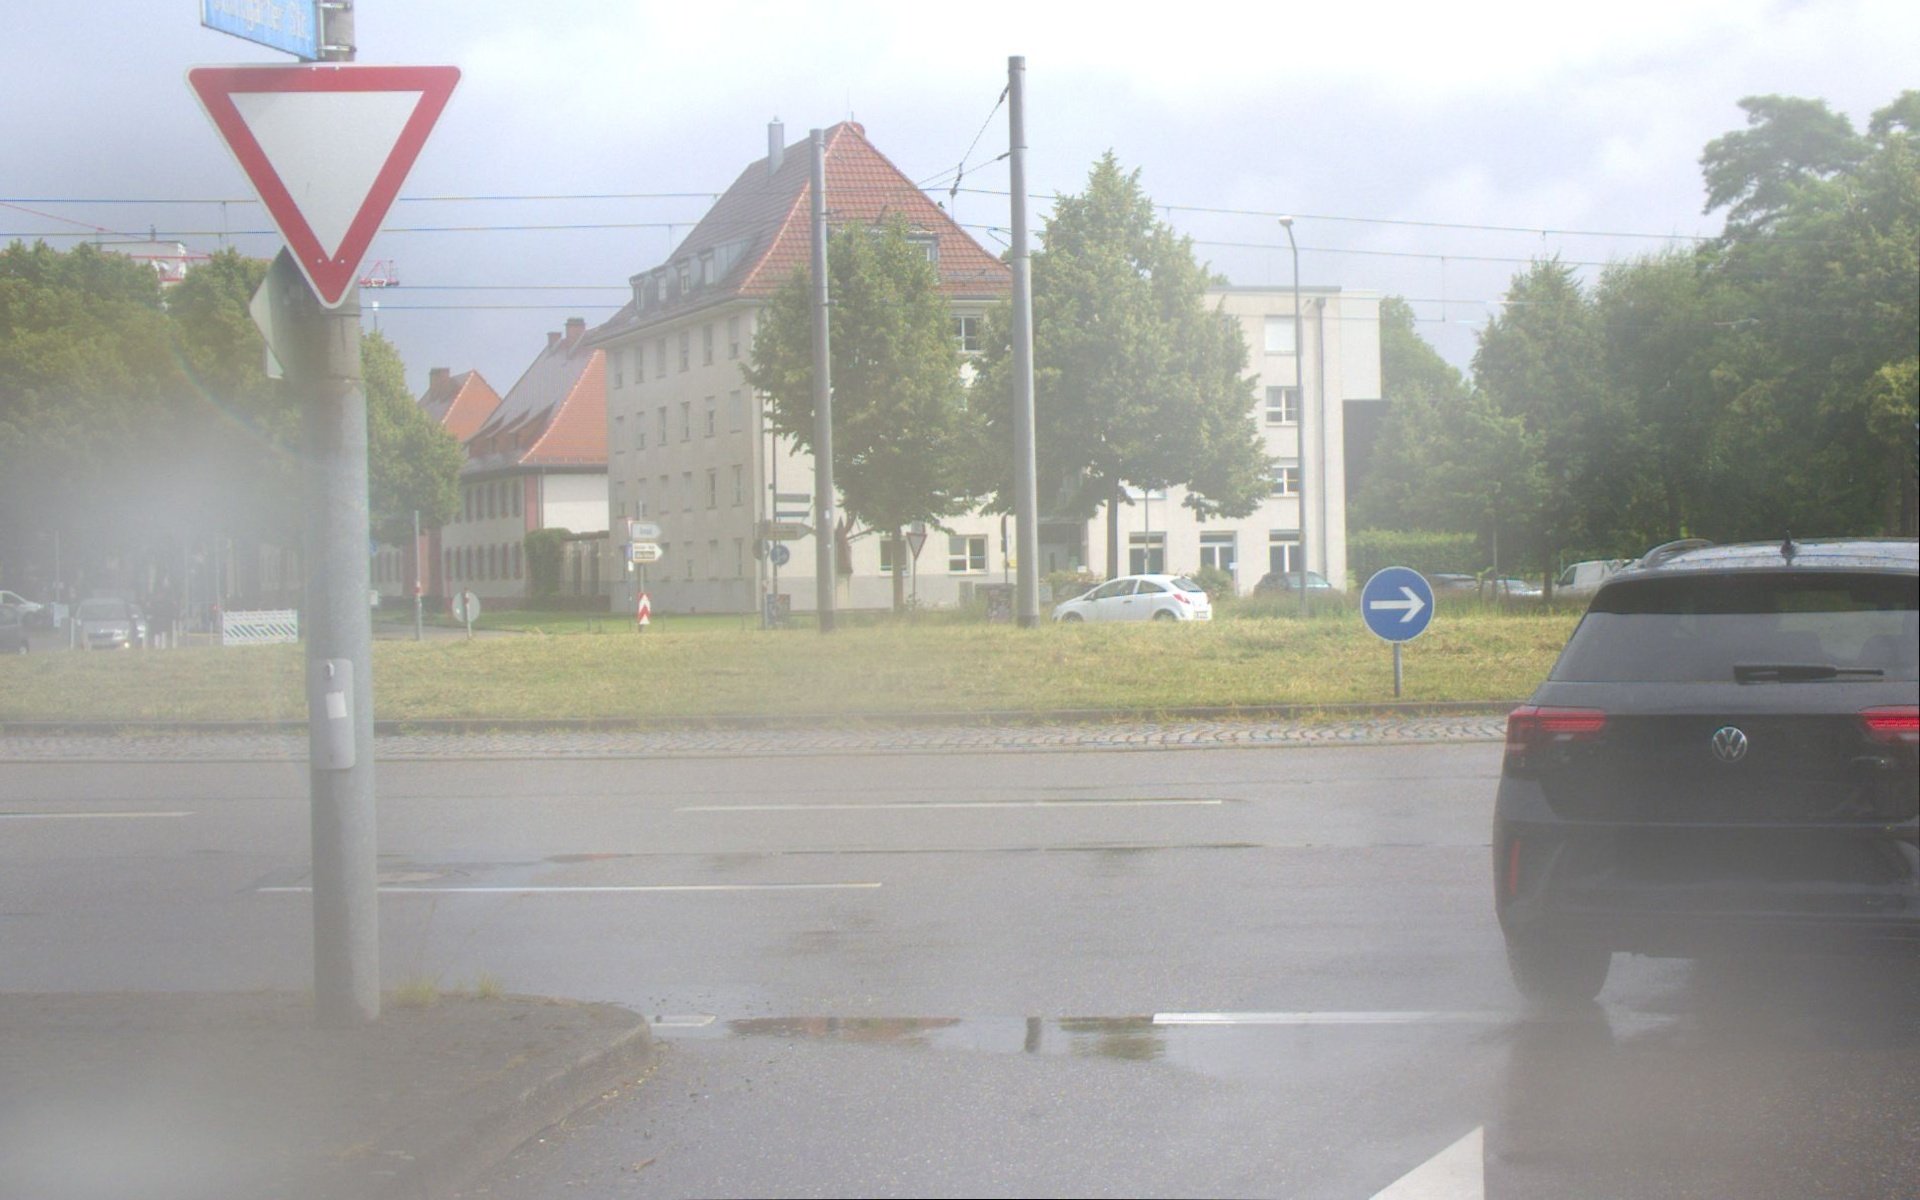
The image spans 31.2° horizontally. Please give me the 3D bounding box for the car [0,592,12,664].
[{"bbox_3d":[-22.192,0.650,75.506,1.791,1.579,4.001,-1,1,-3],"label":"car"}]

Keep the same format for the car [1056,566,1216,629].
[{"bbox_3d":[4.224,-0.060,82.709,3.494,1.449,1.548,-1,1,29],"label":"car"}]

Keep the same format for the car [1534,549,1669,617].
[{"bbox_3d":[20.214,-0.562,108.532,2.106,2.050,5.163,-2,1,-15],"label":"car"}]

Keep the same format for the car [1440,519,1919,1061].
[{"bbox_3d":[3.013,0.528,12.267,1.899,1.612,3.997,0,1,18],"label":"car"}]

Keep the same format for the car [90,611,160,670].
[{"bbox_3d":[-23.822,1.147,98.198,1.594,1.555,3.551,-1,1,-8],"label":"car"}]

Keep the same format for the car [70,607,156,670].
[{"bbox_3d":[-21.891,0.976,88.965,1.545,1.555,3.500,-1,1,-4],"label":"car"}]
